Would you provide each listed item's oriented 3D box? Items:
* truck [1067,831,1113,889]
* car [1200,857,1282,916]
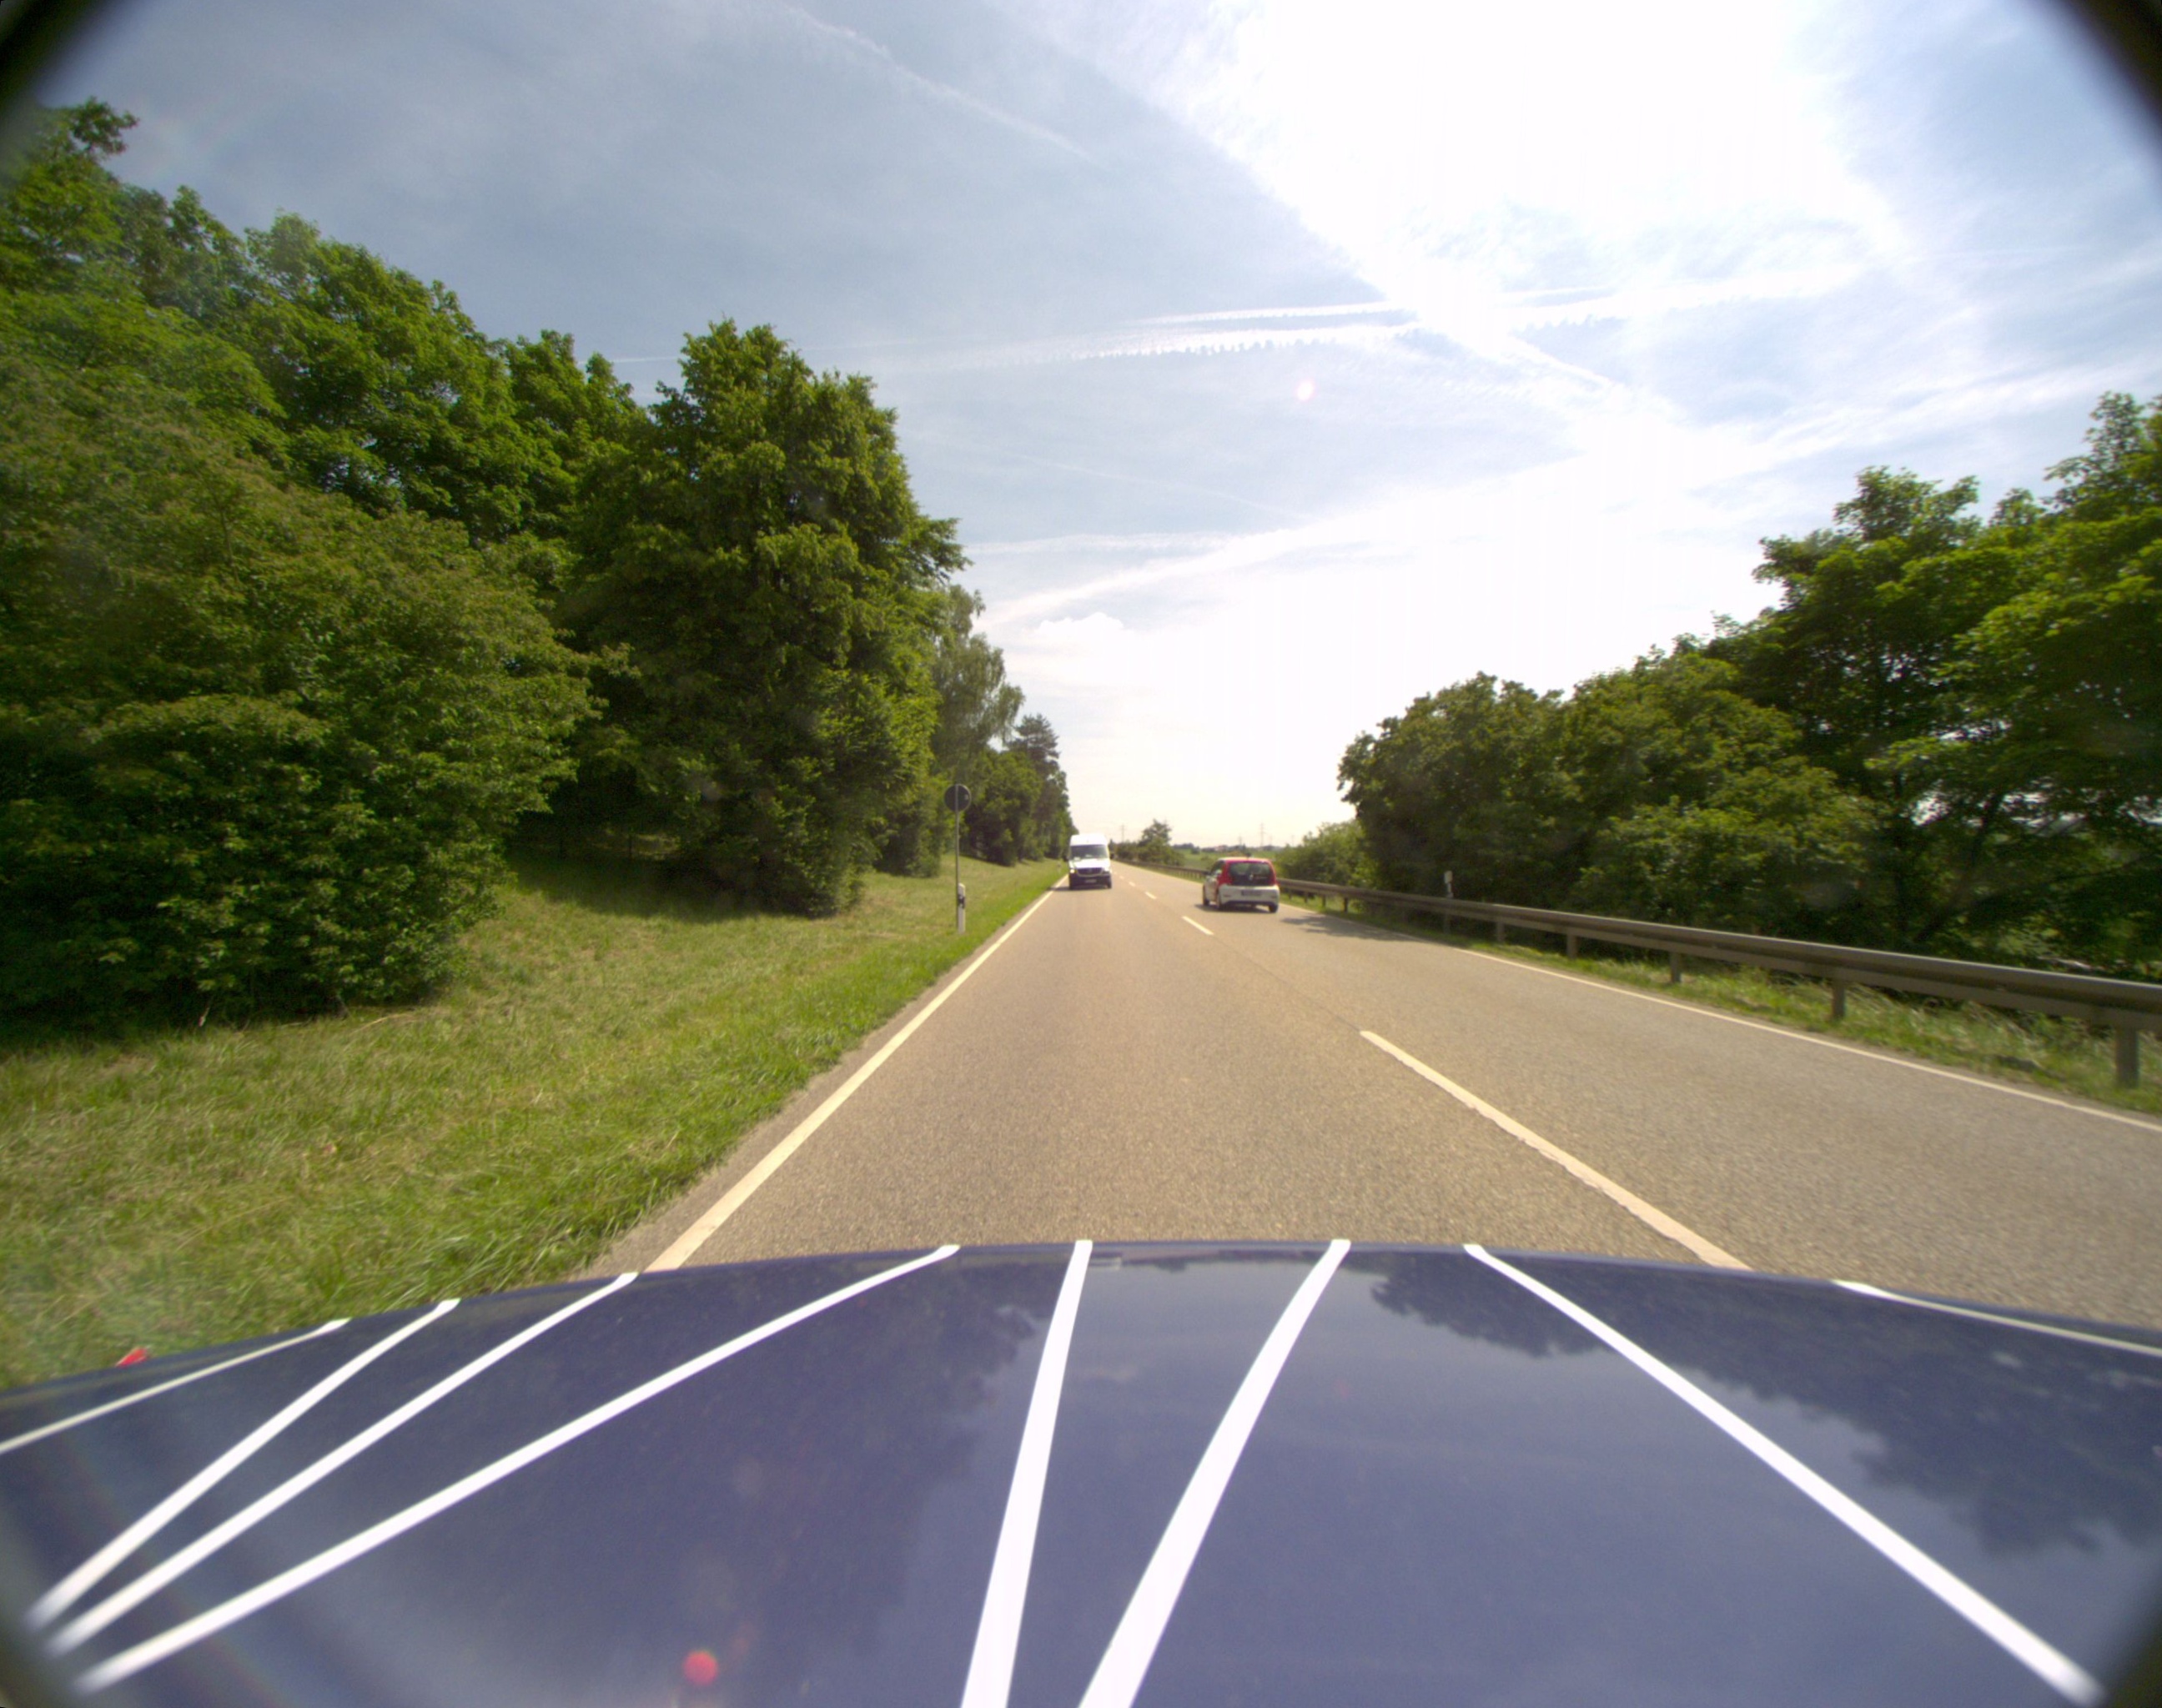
[{"bbox_3d":[0.460,0.262,37.578,2.023,2.567,7.225,-1,0,1],"label":"truck"},{"bbox_3d":[4.465,0.862,21.688,1.561,1.454,3.549,2,0,0],"label":"car"}]
